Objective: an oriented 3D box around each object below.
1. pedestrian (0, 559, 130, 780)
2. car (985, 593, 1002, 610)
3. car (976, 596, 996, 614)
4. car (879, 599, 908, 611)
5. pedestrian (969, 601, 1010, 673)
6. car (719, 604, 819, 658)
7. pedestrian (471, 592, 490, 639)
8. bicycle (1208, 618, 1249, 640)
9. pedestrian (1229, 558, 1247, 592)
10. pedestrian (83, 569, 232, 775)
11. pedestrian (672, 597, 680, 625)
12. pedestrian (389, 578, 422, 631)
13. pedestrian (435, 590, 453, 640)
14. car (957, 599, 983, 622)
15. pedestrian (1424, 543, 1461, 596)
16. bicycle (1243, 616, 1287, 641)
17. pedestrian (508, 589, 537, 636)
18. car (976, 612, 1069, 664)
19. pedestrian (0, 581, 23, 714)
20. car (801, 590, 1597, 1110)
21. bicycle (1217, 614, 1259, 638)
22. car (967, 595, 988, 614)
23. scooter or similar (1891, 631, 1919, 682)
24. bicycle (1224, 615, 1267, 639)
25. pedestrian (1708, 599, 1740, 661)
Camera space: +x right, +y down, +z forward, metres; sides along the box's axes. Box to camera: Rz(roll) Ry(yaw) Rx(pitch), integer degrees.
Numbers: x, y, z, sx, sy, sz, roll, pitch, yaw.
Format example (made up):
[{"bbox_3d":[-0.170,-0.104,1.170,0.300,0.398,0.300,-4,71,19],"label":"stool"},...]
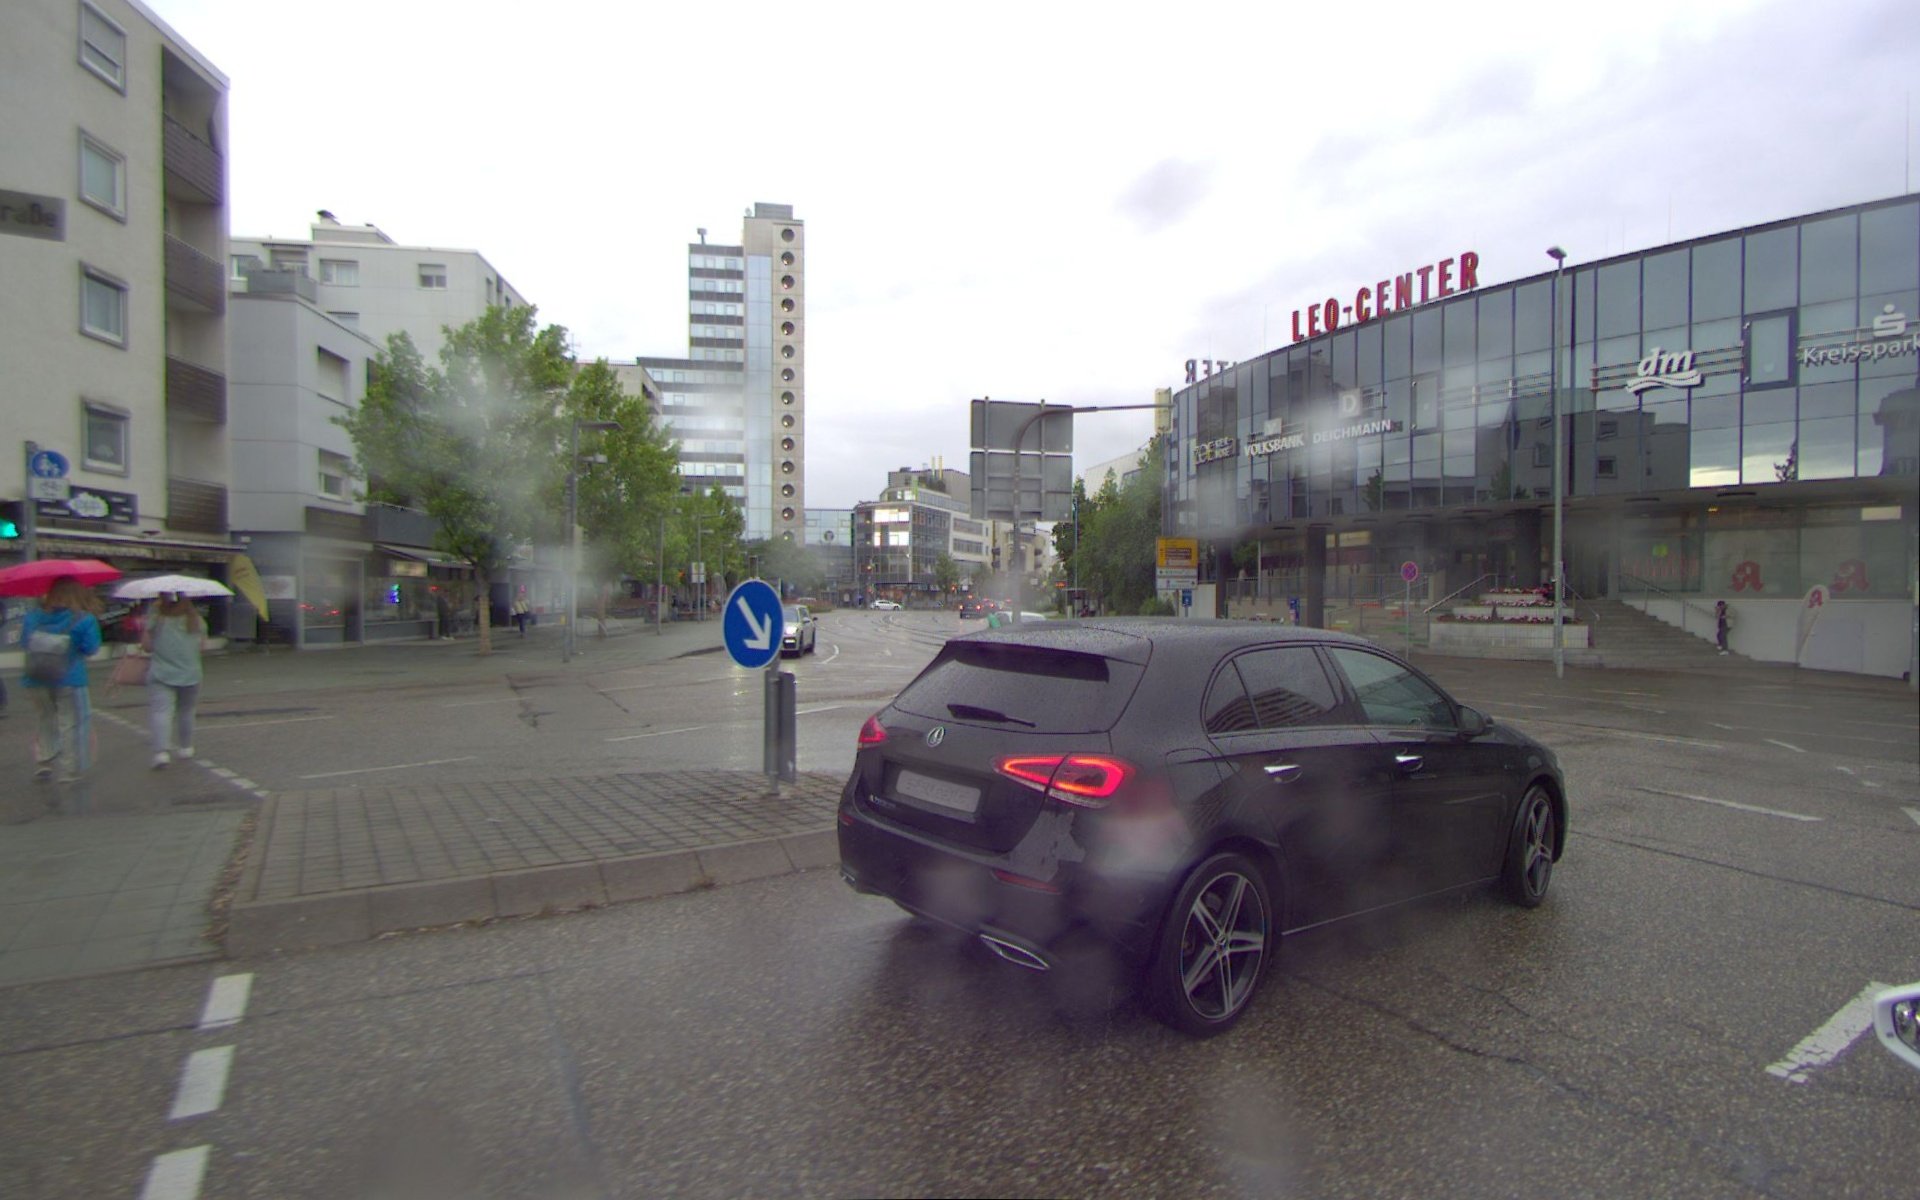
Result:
[{"bbox_3d":[-7.380,0.542,8.179,0.796,1.707,0.669,1,0,-26],"label":"pedestrian"},{"bbox_3d":[3.731,0.187,111.484,1.798,1.794,3.857,1,1,4],"label":"car"},{"bbox_3d":[2.725,0.477,104.758,1.878,1.748,3.810,1,1,4],"label":"car"},{"bbox_3d":[-9.140,0.718,137.839,3.824,1.538,1.781,1,1,-12],"label":"car"},{"bbox_3d":[0.675,0.839,23.384,0.794,1.645,0.950,0,0,-9],"label":"pedestrian"},{"bbox_3d":[-5.618,0.865,30.206,2.082,1.432,5.145,2,0,-1],"label":"car"},{"bbox_3d":[-18.763,0.616,39.310,0.557,1.817,0.491,0,0,-5],"label":"pedestrian"},{"bbox_3d":[12.956,1.398,48.474,1.821,0.964,0.535,-2,2,-10],"label":"bicycle"},{"bbox_3d":[14.389,-1.275,52.042,0.642,1.737,0.599,1,2,-7],"label":"pedestrian"},{"bbox_3d":[-7.101,0.599,8.945,0.906,1.699,0.930,0,0,-31],"label":"pedestrian"},{"bbox_3d":[-17.953,0.670,63.511,0.480,1.741,0.536,0,1,-15],"label":"pedestrian"},{"bbox_3d":[-21.528,0.178,39.005,0.859,2.040,0.923,1,0,-11],"label":"pedestrian"},{"bbox_3d":[-18.096,0.529,35.238,0.441,1.747,0.499,0,0,-13],"label":"pedestrian"},{"bbox_3d":[0.955,0.949,90.635,2.008,1.921,4.140,1,1,5],"label":"car"},{"bbox_3d":[18.867,-1.192,39.315,0.937,2.041,0.829,1,2,-19],"label":"pedestrian"},{"bbox_3d":[13.820,1.278,45.458,1.822,1.037,0.630,-1,0,-13],"label":"bicycle"},{"bbox_3d":[-17.338,0.510,39.843,0.859,1.835,0.923,1,0,-11],"label":"pedestrian"},{"bbox_3d":[1.930,1.161,32.149,1.718,1.461,3.978,0,0,-16],"label":"car"},{"bbox_3d":[-12.487,0.592,12.767,0.809,1.677,0.706,0,0,-42],"label":"pedestrian"},{"bbox_3d":[1.422,0.777,4.923,4.060,1.501,1.649,1,1,-40],"label":"car"},{"bbox_3d":[13.220,1.232,47.812,1.822,1.047,0.627,-2,0,-13],"label":"bicycle"},{"bbox_3d":[1.745,0.398,97.885,1.854,1.694,4.001,1,1,4],"label":"car"},{"bbox_3d":[27.232,1.604,28.486,1.154,1.391,0.486,3,2,45],"label":"scooter or similar"},{"bbox_3d":[13.388,1.248,47.073,1.822,1.056,0.646,-2,0,-13],"label":"bicycle"},{"bbox_3d":[24.184,0.930,31.795,0.590,1.934,0.650,0,1,-39],"label":"pedestrian"}]
